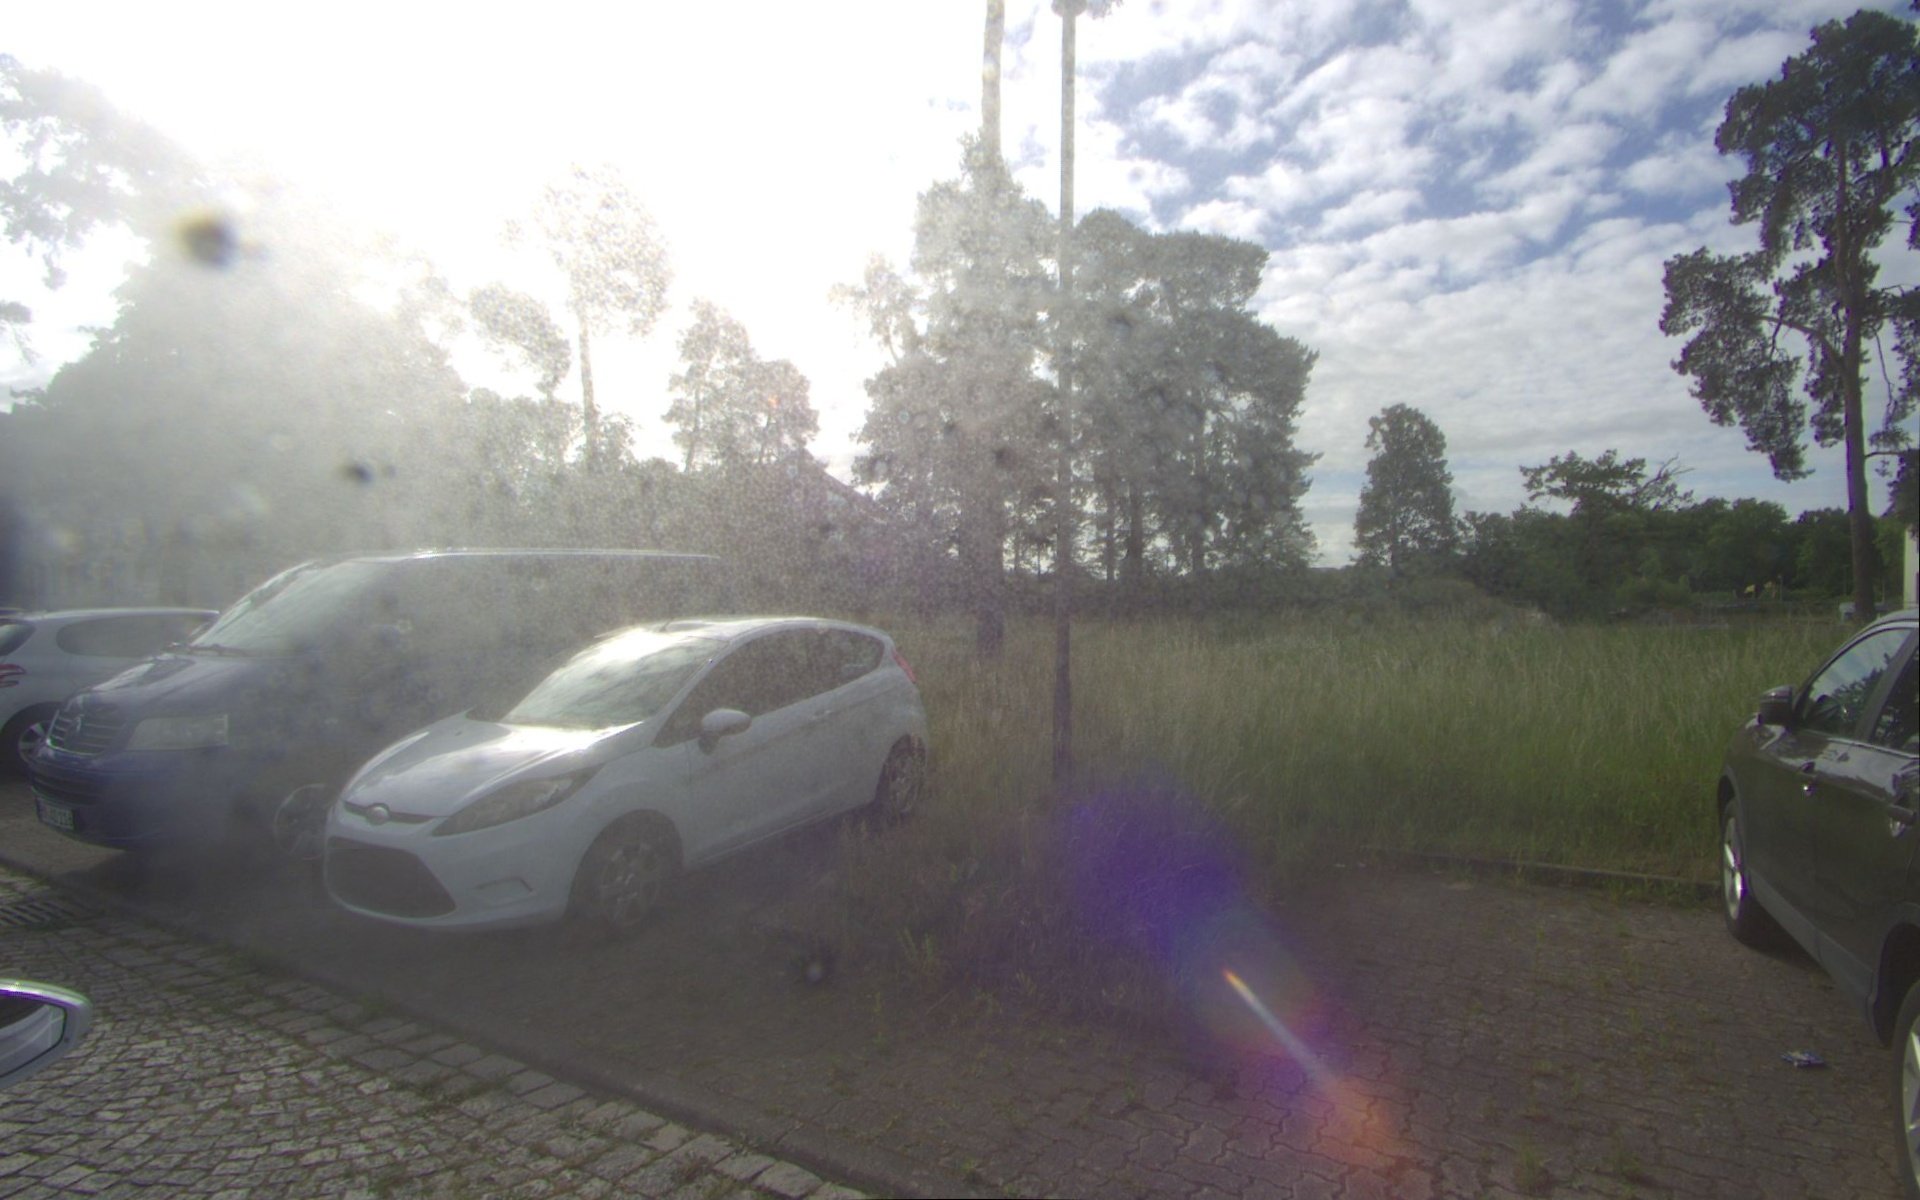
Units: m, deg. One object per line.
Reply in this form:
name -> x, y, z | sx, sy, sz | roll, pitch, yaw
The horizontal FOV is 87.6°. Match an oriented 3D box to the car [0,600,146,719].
car -> -13.126, 0.765, 13.251 | 1.635, 1.524, 3.296 | 1, 0, 20

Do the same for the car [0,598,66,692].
car -> -17.174, 0.728, 16.007 | 1.637, 1.564, 3.987 | 1, 0, 25

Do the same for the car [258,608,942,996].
car -> -1.721, 0.822, 5.991 | 1.629, 1.443, 3.718 | 1, 1, 28

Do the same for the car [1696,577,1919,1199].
car -> 3.620, 0.768, 3.036 | 1.735, 1.601, 3.946 | 1, 0, 29

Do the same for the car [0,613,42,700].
car -> -15.603, 0.849, 14.320 | 1.637, 1.284, 3.292 | 1, 0, 25

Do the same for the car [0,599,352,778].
car -> -8.269, 0.760, 10.115 | 1.638, 1.524, 3.289 | 1, 0, 29

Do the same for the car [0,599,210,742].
car -> -10.947, 0.758, 11.366 | 1.635, 1.526, 3.602 | 1, 0, 20

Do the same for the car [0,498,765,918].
car -> -3.694, 0.552, 7.431 | 1.712, 2.067, 4.776 | 1, 0, 30
